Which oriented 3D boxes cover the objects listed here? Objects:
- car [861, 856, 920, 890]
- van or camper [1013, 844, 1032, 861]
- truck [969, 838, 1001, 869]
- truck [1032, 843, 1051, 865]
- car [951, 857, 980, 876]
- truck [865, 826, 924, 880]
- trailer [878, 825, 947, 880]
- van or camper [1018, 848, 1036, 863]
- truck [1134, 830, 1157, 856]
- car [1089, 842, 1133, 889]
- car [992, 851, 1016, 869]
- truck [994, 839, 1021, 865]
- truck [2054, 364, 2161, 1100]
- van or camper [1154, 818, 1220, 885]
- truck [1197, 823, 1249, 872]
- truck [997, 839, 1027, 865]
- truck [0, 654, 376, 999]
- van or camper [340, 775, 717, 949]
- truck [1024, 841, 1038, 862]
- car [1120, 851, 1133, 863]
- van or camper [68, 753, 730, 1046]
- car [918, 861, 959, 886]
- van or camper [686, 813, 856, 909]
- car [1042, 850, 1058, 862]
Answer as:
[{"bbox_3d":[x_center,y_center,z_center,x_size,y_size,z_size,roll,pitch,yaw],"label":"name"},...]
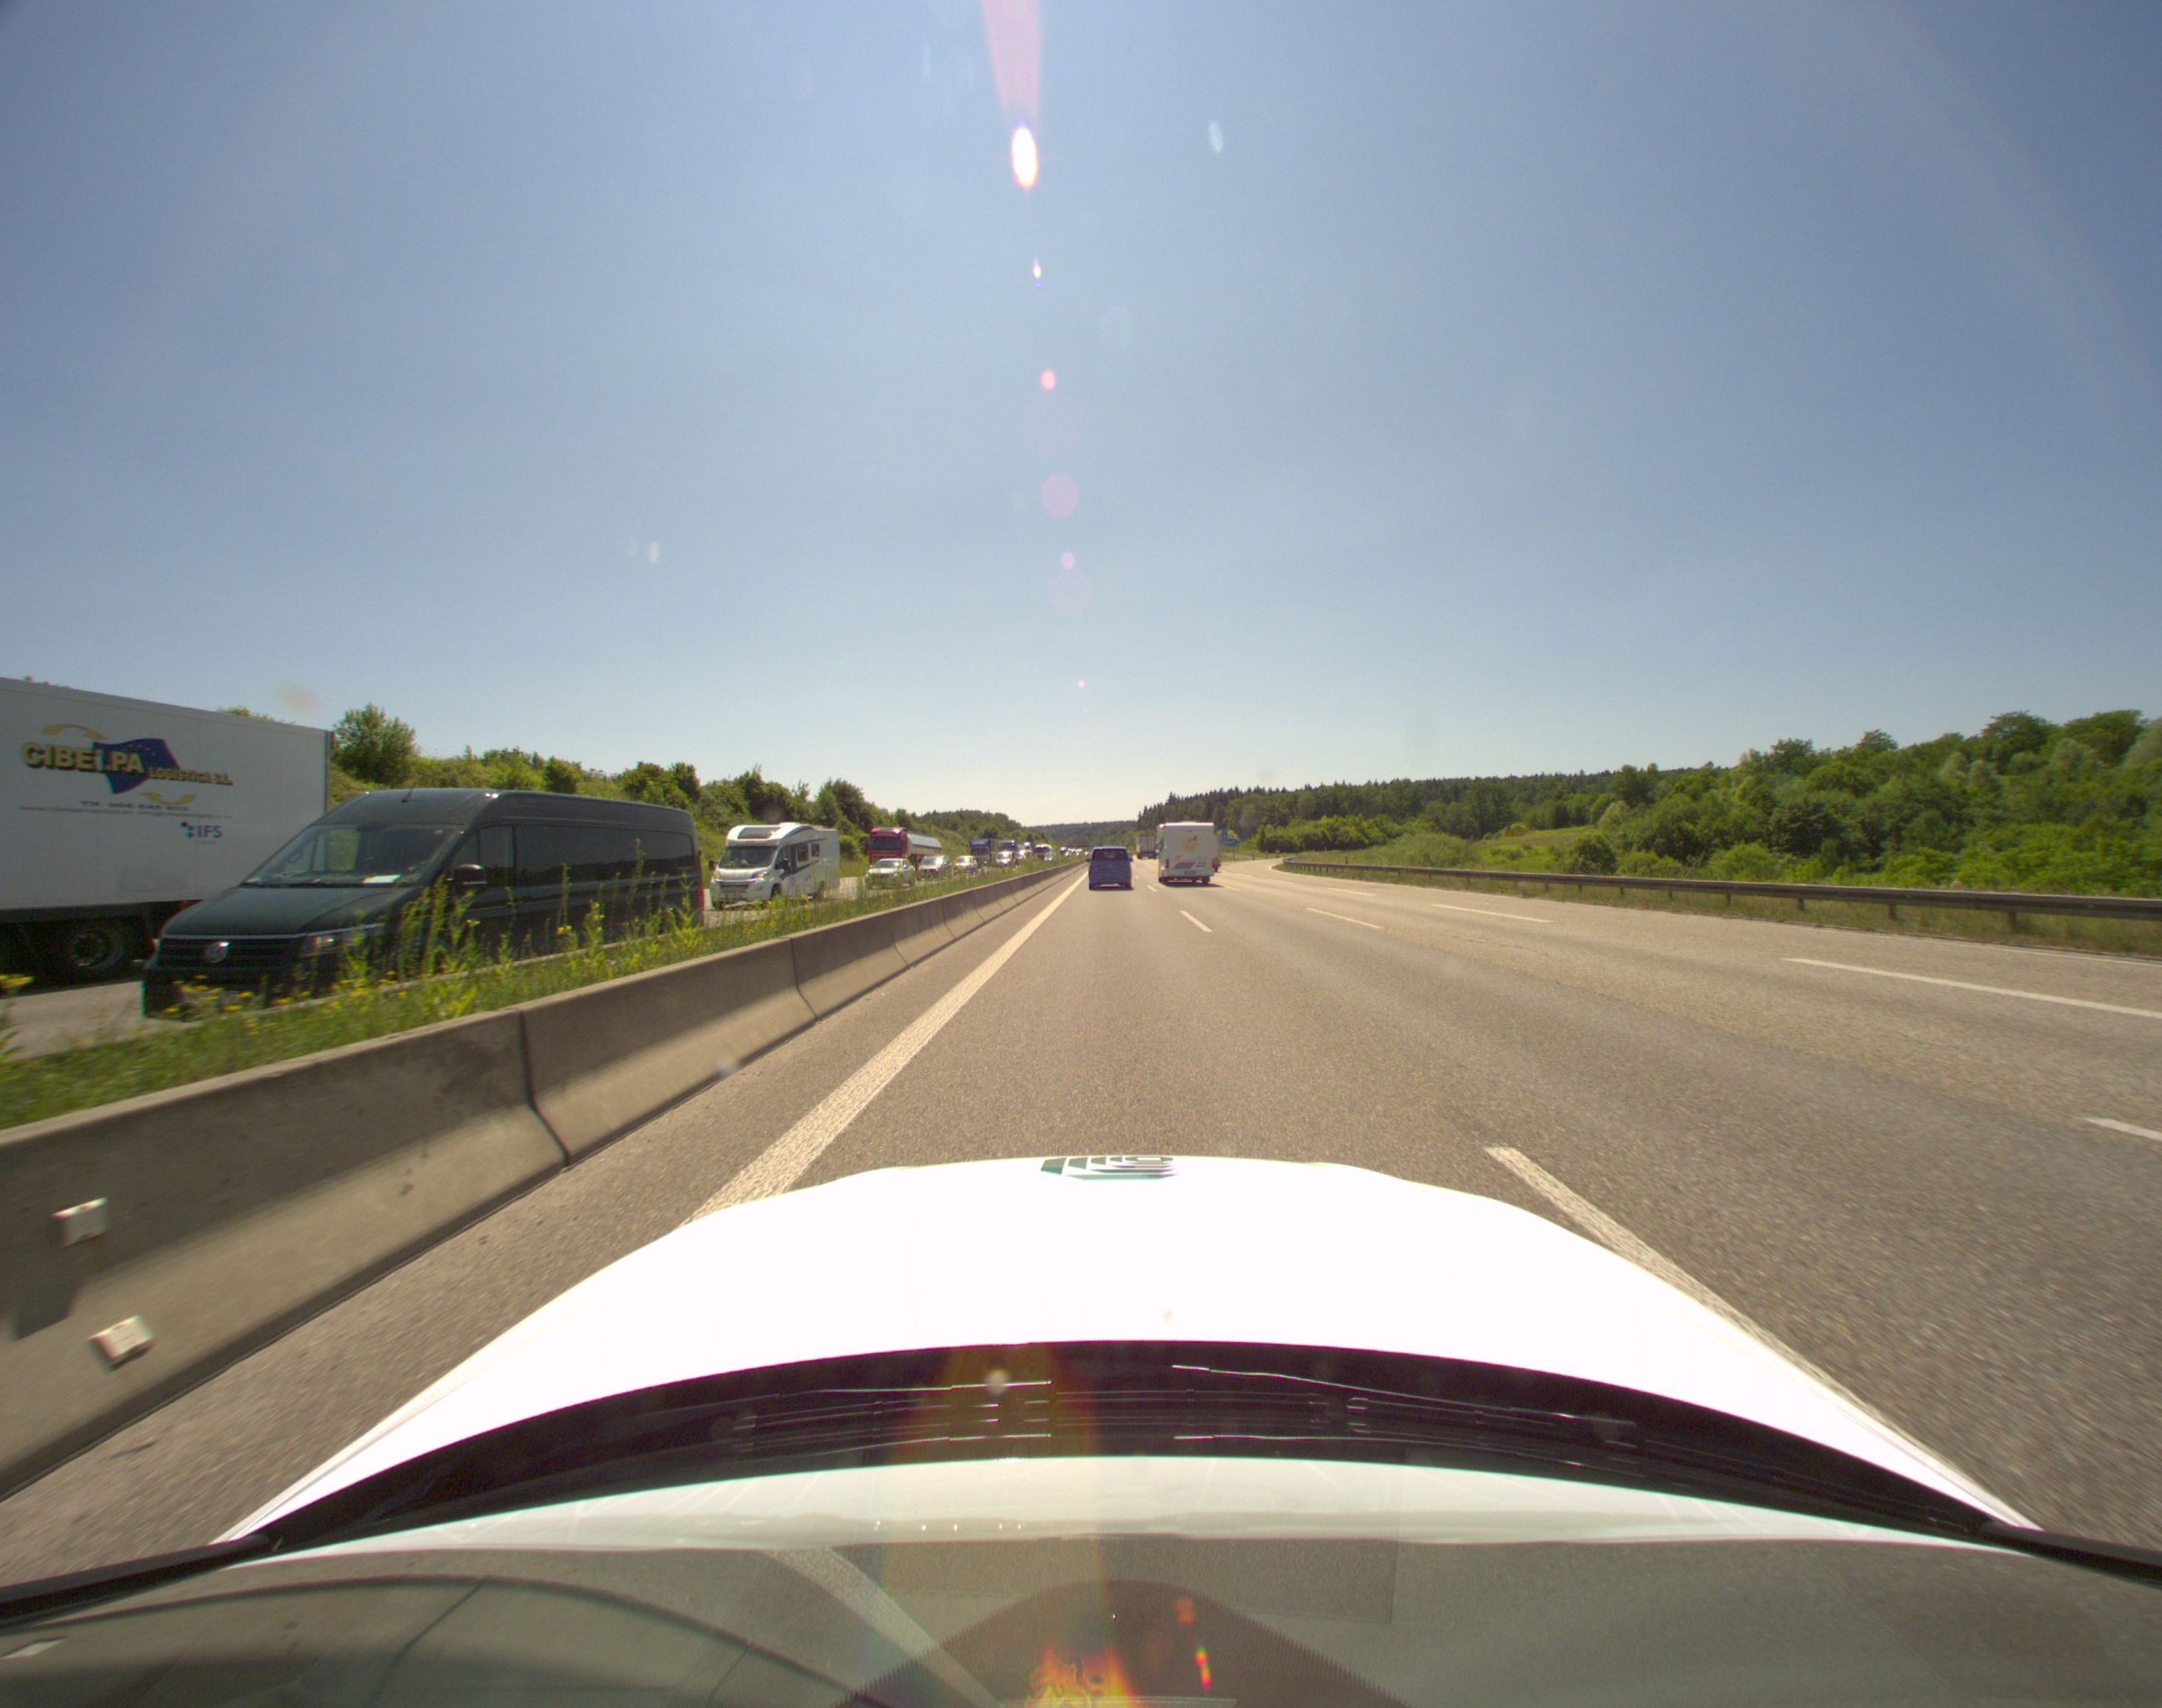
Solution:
[{"bbox_3d":[-9.786,0.950,42.083,1.875,1.627,4.360,-1,0,2],"label":"car"},{"bbox_3d":[-7.982,-0.187,112.184,1.986,2.153,5.956,-3,0,1],"label":"van or camper"},{"bbox_3d":[-12.105,-0.028,103.644,2.535,3.674,9.942,-1,0,2],"label":"truck"},{"bbox_3d":[-7.134,0.045,148.473,2.608,3.890,7.405,-2,-1,2],"label":"truck"},{"bbox_3d":[-9.628,1.015,68.124,1.747,1.550,4.191,-1,0,2],"label":"car"},{"bbox_3d":[-13.670,-0.056,60.096,2.772,3.823,6.034,0,0,2],"label":"truck"},{"bbox_3d":[-13.548,-0.103,66.776,2.670,3.949,12.277,-4,0,1],"label":"trailer"},{"bbox_3d":[-7.797,0.222,117.649,1.986,2.153,4.719,-3,0,1],"label":"van or camper"},{"bbox_3d":[11.042,-1.844,139.536,3.474,4.170,8.645,0,0,2],"label":"truck"},{"bbox_3d":[1.345,0.469,36.791,1.902,2.013,4.002,0,1,2],"label":"car"},{"bbox_3d":[-8.535,0.664,90.651,2.016,1.958,5.096,-1,0,2],"label":"car"},{"bbox_3d":[-11.639,-0.223,129.655,3.477,4.037,6.646,0,0,1],"label":"truck"},{"bbox_3d":[7.418,-0.714,0.191,2.774,4.128,9.739,0,0,0],"label":"truck"},{"bbox_3d":[5.203,-0.086,41.209,2.593,3.079,7.184,0,0,2],"label":"van or camper"},{"bbox_3d":[11.415,-0.568,66.120,2.916,3.575,8.531,-2,1,2],"label":"truck"},{"bbox_3d":[-11.456,-0.366,136.943,3.565,4.093,12.585,-1,0,2],"label":"truck"},{"bbox_3d":[-14.835,-0.348,9.255,2.511,4.325,12.426,0,0,2],"label":"truck"},{"bbox_3d":[-11.244,0.166,17.872,2.534,2.937,7.834,-1,0,3],"label":"van or camper"},{"bbox_3d":[-9.842,-0.504,160.758,2.079,4.029,7.882,0,0,2],"label":"truck"},{"bbox_3d":[6.951,0.422,124.141,1.811,1.794,3.895,0,0,2],"label":"car"},{"bbox_3d":[-7.364,0.408,10.547,2.289,2.435,7.285,-1,0,1],"label":"van or camper"},{"bbox_3d":[-9.592,1.258,54.976,1.747,1.584,4.787,-1,0,2],"label":"car"},{"bbox_3d":[-10.756,0.237,29.353,2.534,2.937,8.137,-1,0,3],"label":"van or camper"},{"bbox_3d":[-4.211,0.256,111.935,1.747,1.584,4.856,-1,0,2],"label":"car"}]
